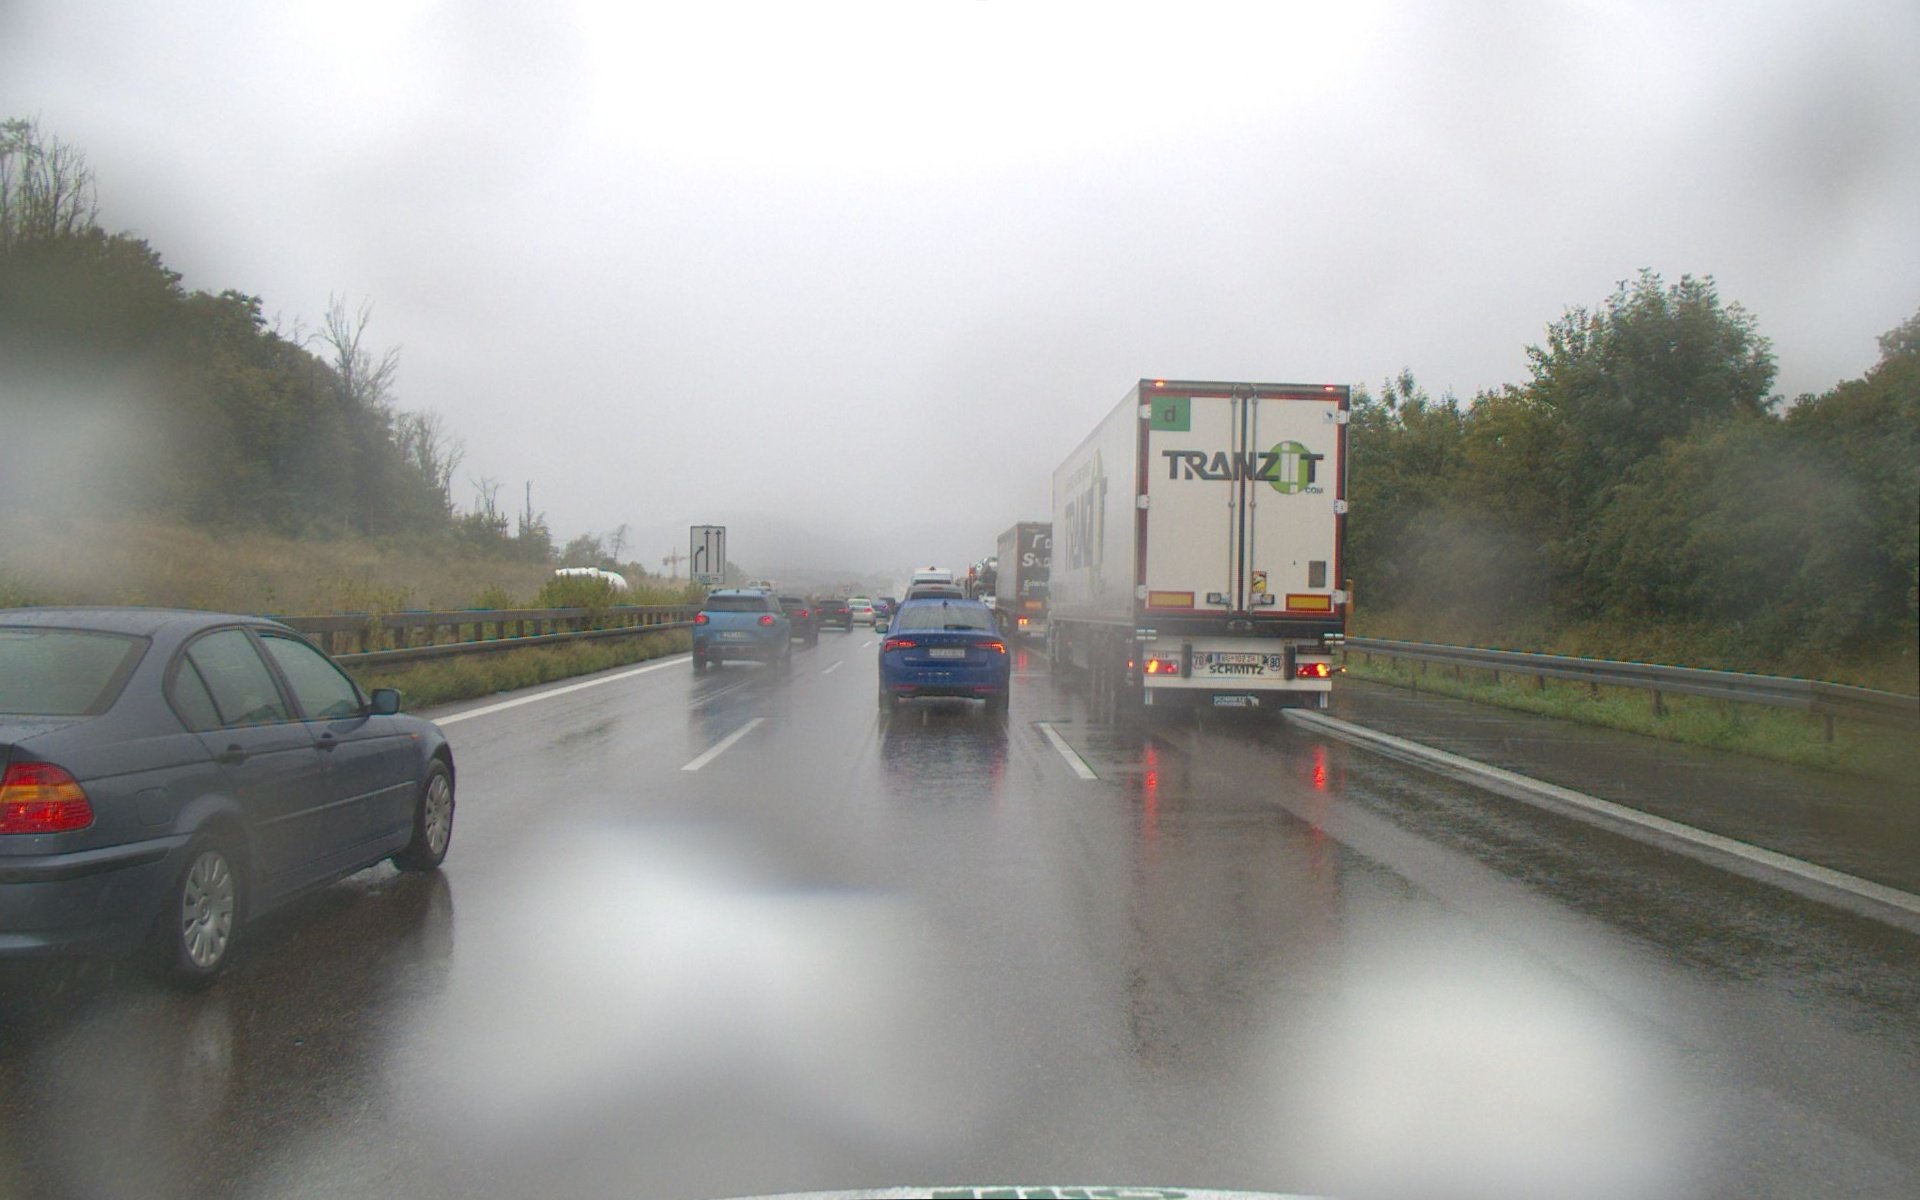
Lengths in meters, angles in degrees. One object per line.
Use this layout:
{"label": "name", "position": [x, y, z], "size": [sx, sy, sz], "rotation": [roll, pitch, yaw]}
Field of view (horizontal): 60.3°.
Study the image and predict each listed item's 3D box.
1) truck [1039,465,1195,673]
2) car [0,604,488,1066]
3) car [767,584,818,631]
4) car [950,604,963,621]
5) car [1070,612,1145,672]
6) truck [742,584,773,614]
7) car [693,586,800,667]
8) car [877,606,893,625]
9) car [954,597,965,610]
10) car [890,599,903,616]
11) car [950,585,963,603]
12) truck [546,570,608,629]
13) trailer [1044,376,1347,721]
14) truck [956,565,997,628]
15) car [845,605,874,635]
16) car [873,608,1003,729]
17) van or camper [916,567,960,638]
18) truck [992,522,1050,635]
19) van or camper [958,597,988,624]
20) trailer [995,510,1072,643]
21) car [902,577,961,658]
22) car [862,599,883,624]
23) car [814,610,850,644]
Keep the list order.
{"label": "truck", "position": [3.064, -0.594, 33.453], "size": [2.577, 3.894, 4.790], "rotation": [0, 0, -1]}
{"label": "car", "position": [-3.526, 0.742, 7.295], "size": [1.683, 1.424, 4.229], "rotation": [0, 0, 0]}
{"label": "car", "position": [-5.275, 0.228, 52.391], "size": [1.331, 1.456, 3.363], "rotation": [0, 0, -1]}
{"label": "car", "position": [-0.336, 1.225, 157.368], "size": [1.223, 1.538, 3.107], "rotation": [0, 1, -1]}
{"label": "car", "position": [3.478, 0.960, 39.405], "size": [1.395, 1.310, 3.460], "rotation": [0, 0, -1]}
{"label": "truck", "position": [-19.594, -0.072, 160.137], "size": [2.431, 2.767, 4.527], "rotation": [-1, -1, 0]}
{"label": "car", "position": [-4.358, 0.518, 34.243], "size": [1.686, 1.550, 4.000], "rotation": [0, 0, 0]}
{"label": "car", "position": [-7.378, 1.494, 162.099], "size": [1.419, 1.815, 3.408], "rotation": [1, 0, -1]}
{"label": "car", "position": [-0.040, 0.488, 232.816], "size": [1.419, 1.815, 3.408], "rotation": [1, 0, -1]}
{"label": "car", "position": [-7.191, 0.843, 188.149], "size": [1.419, 1.815, 3.408], "rotation": [1, 0, -1]}
{"label": "car", "position": [-0.385, -0.665, 179.274], "size": [1.308, 1.923, 3.039], "rotation": [-1, 0, -1]}
{"label": "truck", "position": [-22.365, 0.005, 96.712], "size": [2.490, 3.337, 5.196], "rotation": [-1, -1, -2]}
{"label": "trailer", "position": [3.180, -0.651, 27.017], "size": [2.577, 4.083, 14.626], "rotation": [0, 0, -1]}
{"label": "truck", "position": [0.911, -0.232, 95.311], "size": [1.953, 3.481, 8.029], "rotation": [1, 1, -2]}
{"label": "car", "position": [-5.446, 1.058, 89.793], "size": [1.410, 1.560, 3.321], "rotation": [1, 0, -1]}
{"label": "car", "position": [-0.280, 0.867, 22.595], "size": [1.602, 1.470, 4.000], "rotation": [0, 0, 0]}
{"label": "van or camper", "position": [-0.925, 0.088, 68.382], "size": [1.761, 2.855, 4.766], "rotation": [0, 0, -1]}
{"label": "truck", "position": [2.356, -0.828, 65.014], "size": [2.005, 4.266, 3.999], "rotation": [0, 0, -1]}
{"label": "van or camper", "position": [0.809, 0.644, 105.211], "size": [1.736, 1.653, 4.483], "rotation": [1, 1, -1]}
{"label": "trailer", "position": [2.472, -0.779, 58.751], "size": [2.005, 4.250, 11.445], "rotation": [0, 0, -1]}
{"label": "car", "position": [-0.680, 0.391, 39.241], "size": [1.309, 1.811, 3.321], "rotation": [1, 0, -1]}
{"label": "car", "position": [-6.480, 0.875, 122.554], "size": [1.419, 1.815, 3.408], "rotation": [1, 0, -1]}
{"label": "car", "position": [-5.737, 1.189, 74.493], "size": [1.410, 1.445, 3.321], "rotation": [1, 0, -1]}
